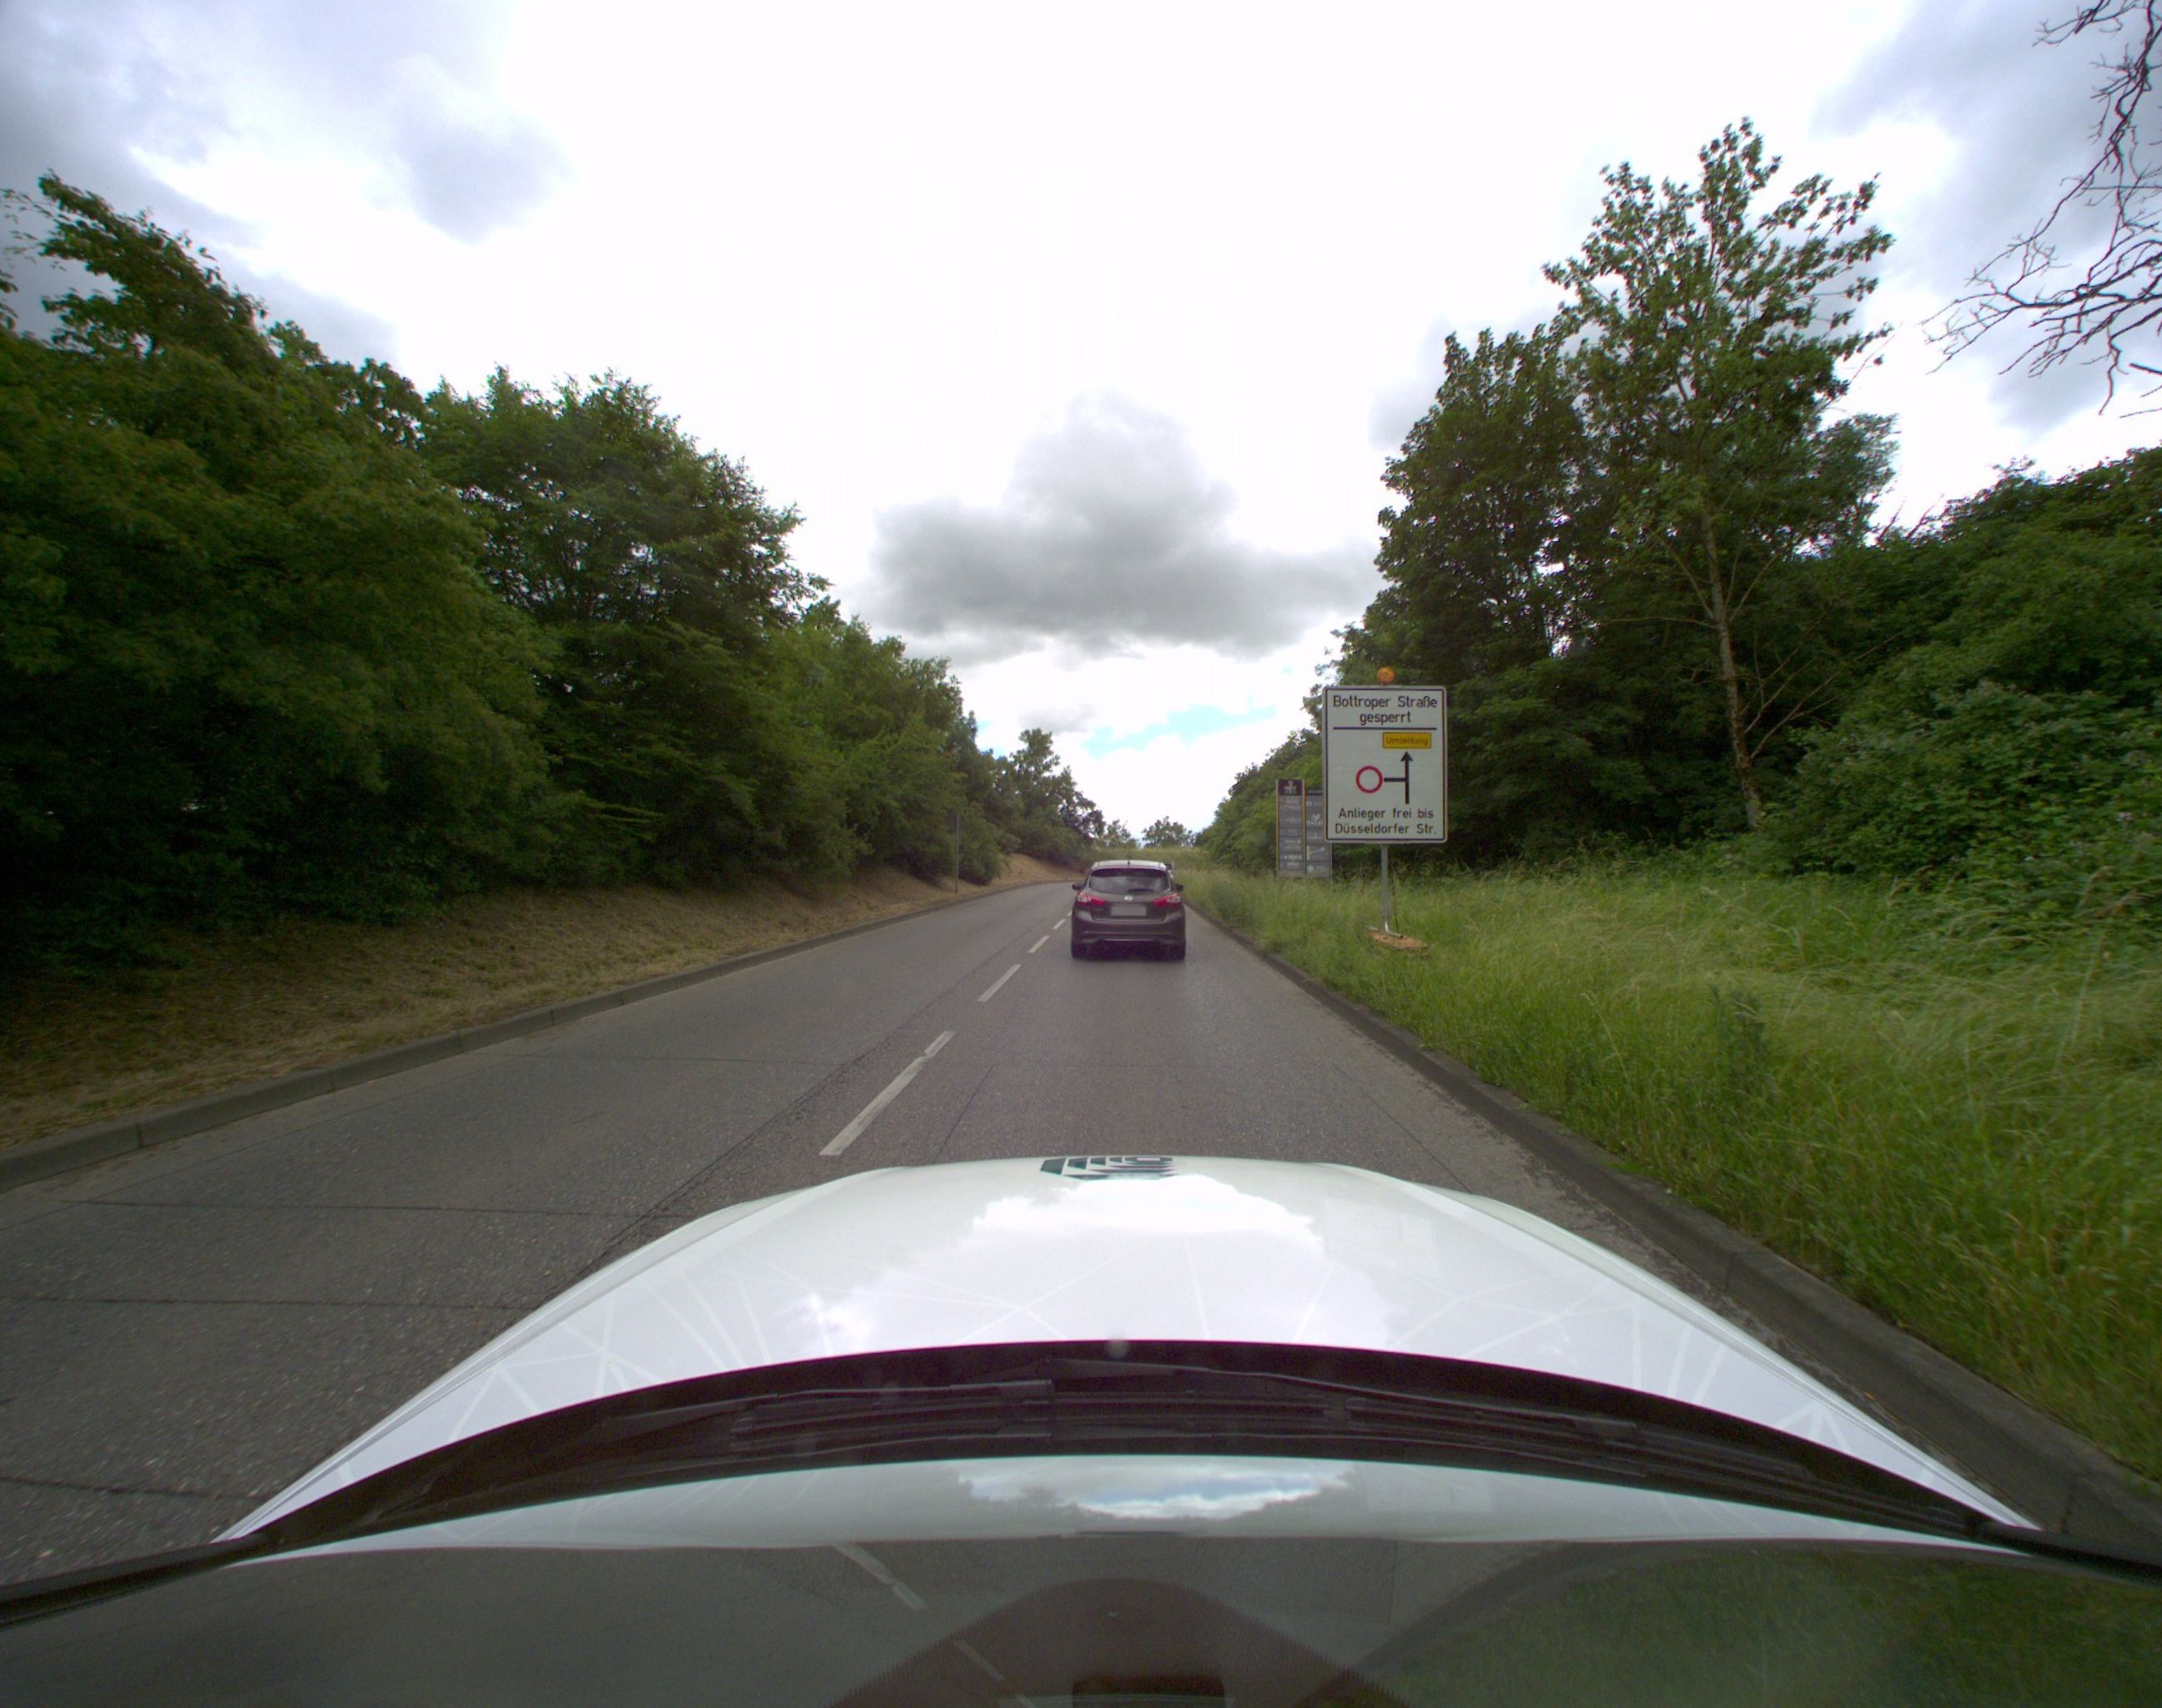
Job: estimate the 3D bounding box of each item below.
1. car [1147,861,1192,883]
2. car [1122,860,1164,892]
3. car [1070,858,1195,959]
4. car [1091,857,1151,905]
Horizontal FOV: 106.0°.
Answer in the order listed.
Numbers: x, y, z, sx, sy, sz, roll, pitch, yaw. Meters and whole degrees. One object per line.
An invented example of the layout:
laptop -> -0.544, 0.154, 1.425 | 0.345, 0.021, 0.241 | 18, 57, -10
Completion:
car -> 6.035, 1.191, 55.142 | 1.781, 1.398, 4.023 | -1, 0, 24
car -> 3.157, 1.063, 40.896 | 1.710, 1.494, 3.587 | -1, 0, 10
car -> 0.770, 0.813, 13.943 | 1.838, 1.493, 4.000 | 0, 0, 0
car -> 1.289, 0.882, 28.075 | 1.839, 1.493, 4.227 | -1, 0, 0
